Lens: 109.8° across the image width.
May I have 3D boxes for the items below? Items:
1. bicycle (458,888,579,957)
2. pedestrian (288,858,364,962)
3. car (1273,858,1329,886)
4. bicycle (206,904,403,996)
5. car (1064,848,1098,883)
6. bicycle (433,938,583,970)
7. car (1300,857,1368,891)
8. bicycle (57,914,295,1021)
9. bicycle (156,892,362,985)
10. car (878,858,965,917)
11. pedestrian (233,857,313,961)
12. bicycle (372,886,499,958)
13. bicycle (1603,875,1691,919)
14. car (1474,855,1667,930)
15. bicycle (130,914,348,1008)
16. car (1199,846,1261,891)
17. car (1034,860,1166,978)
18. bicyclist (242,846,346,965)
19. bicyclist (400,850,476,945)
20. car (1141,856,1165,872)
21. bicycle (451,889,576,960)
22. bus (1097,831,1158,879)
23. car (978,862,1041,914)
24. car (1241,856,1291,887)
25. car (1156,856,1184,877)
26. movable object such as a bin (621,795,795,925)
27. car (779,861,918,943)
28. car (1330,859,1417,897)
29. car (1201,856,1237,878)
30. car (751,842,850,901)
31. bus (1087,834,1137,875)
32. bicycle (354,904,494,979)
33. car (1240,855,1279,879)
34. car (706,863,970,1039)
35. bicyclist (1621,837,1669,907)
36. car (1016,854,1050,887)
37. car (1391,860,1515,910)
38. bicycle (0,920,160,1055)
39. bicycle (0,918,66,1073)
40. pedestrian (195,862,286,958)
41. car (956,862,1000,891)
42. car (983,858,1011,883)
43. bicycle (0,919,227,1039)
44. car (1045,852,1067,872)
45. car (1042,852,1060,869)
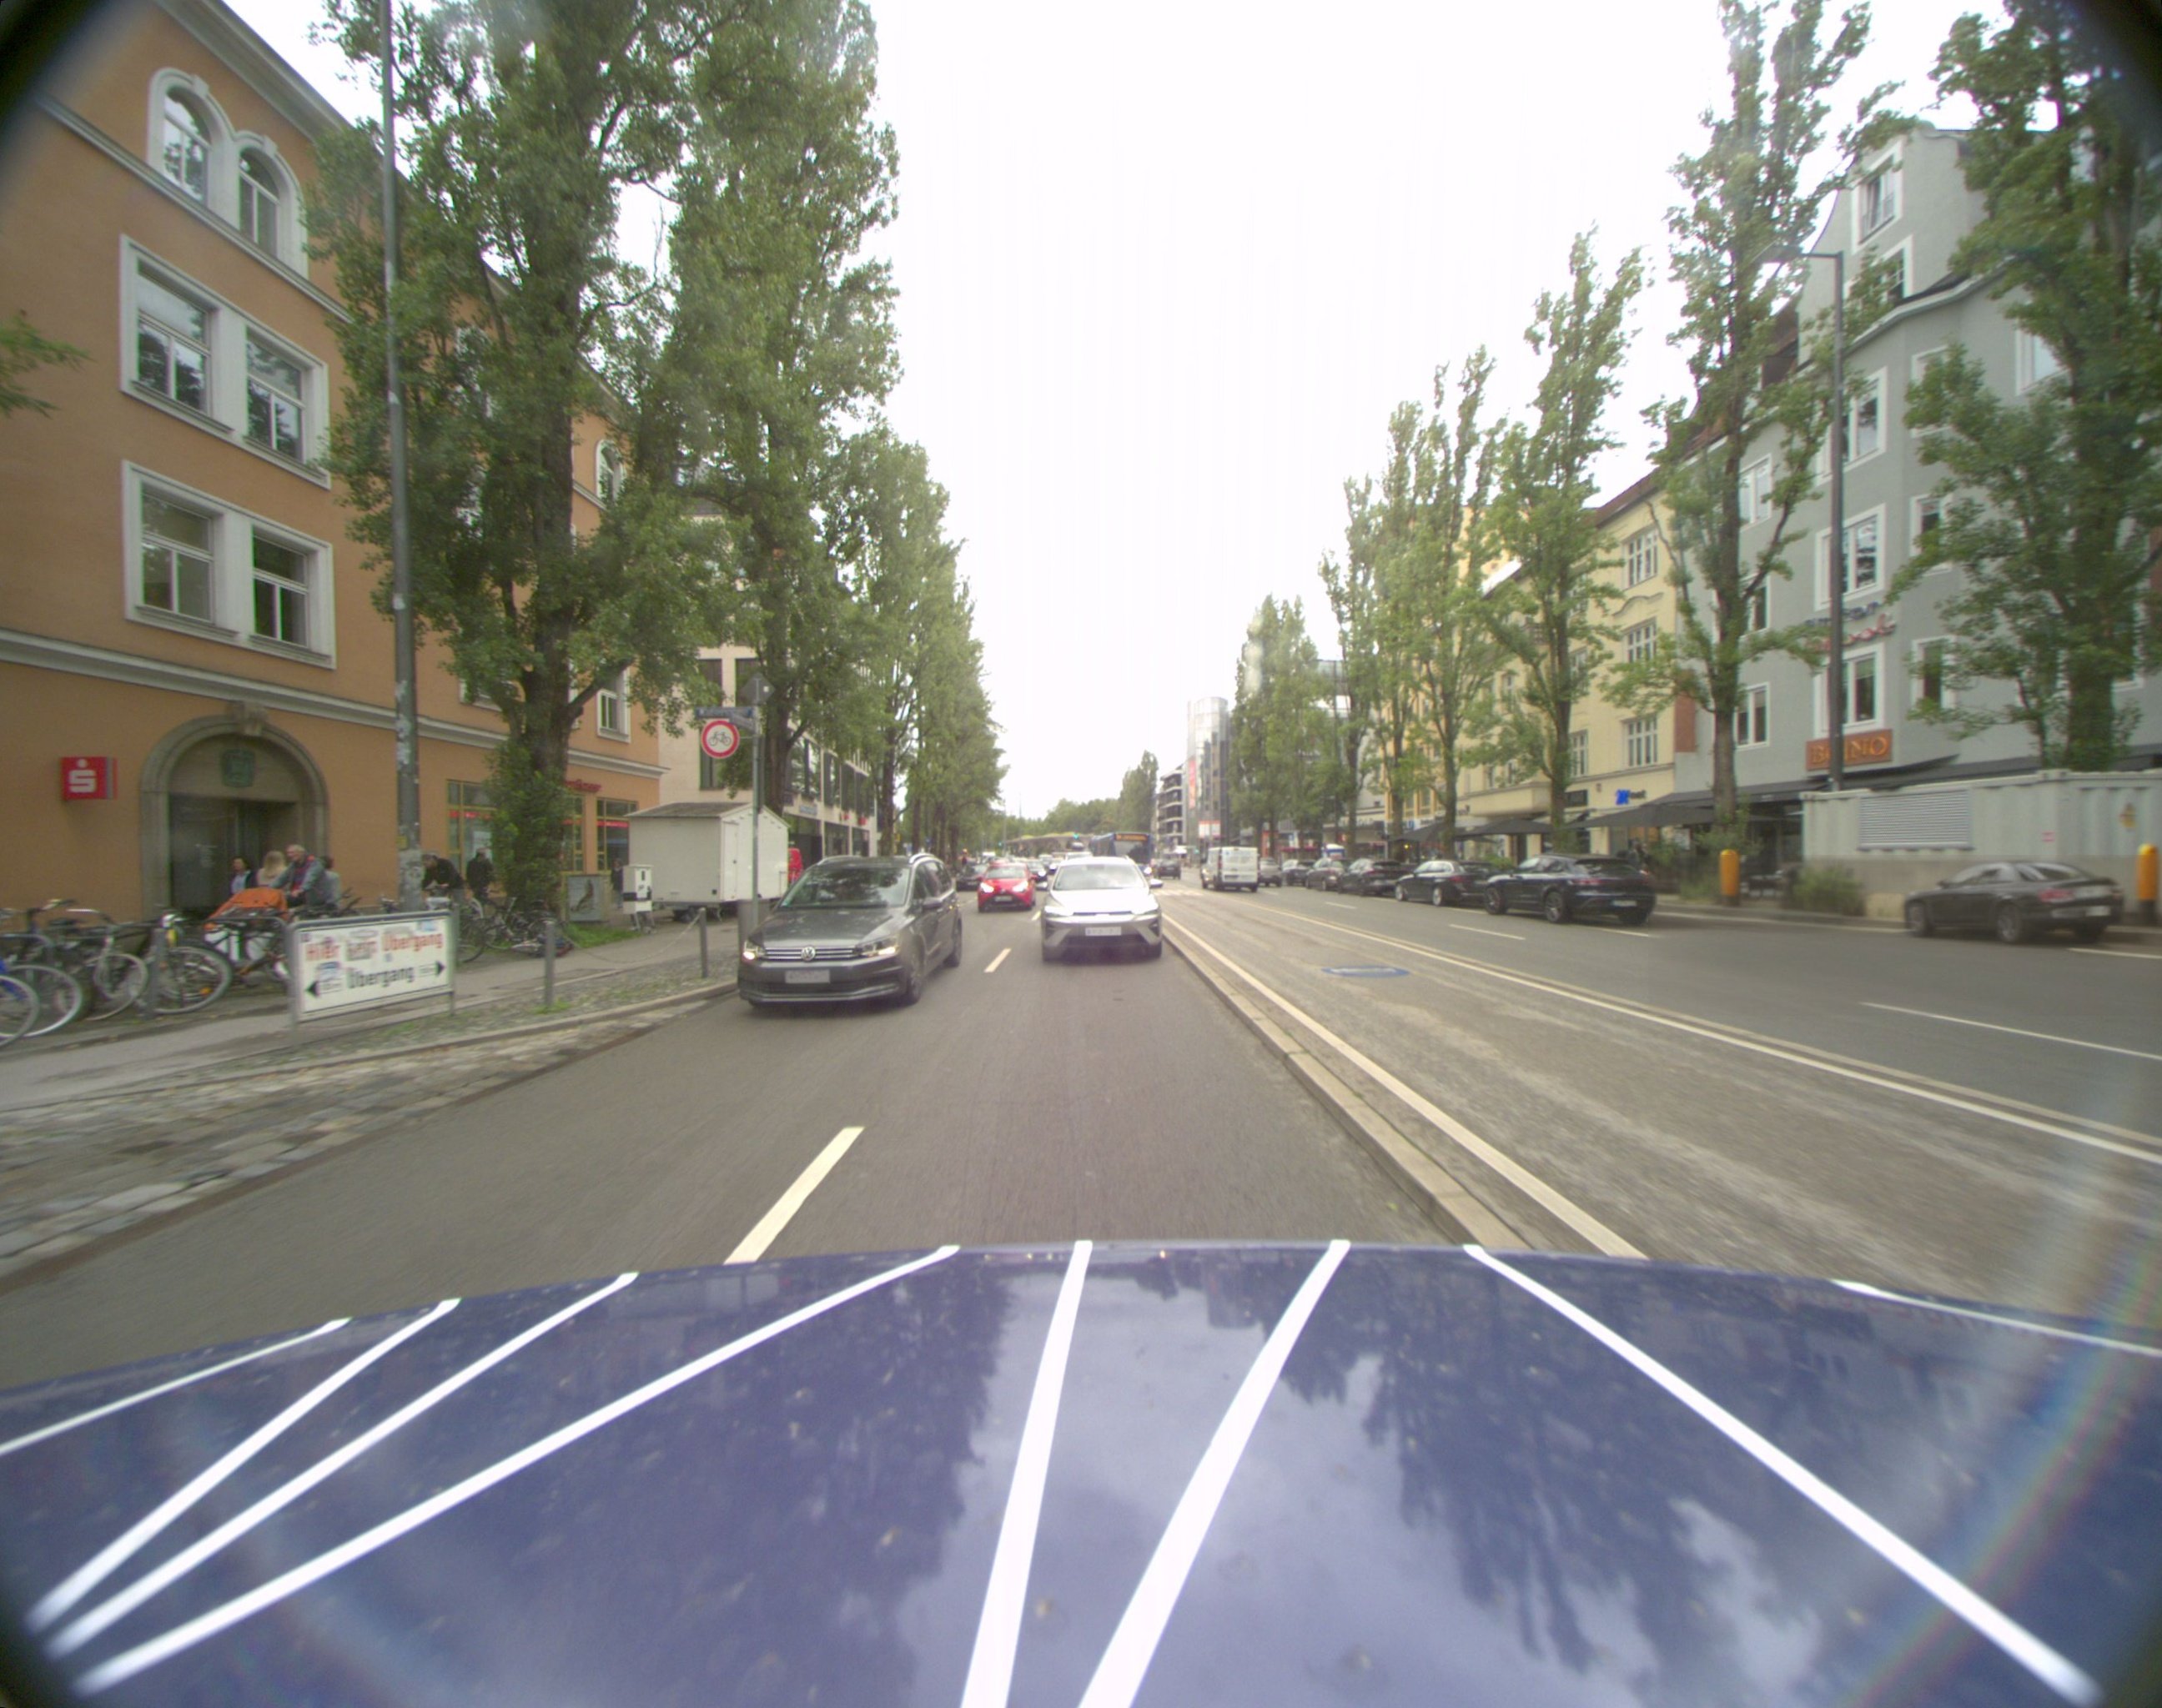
[{"bbox_3d":[-9.579,1.155,12.992,1.610,1.078,0.321,-1,1,-22],"label":"bicycle"},{"bbox_3d":[-12.814,0.928,12.912,0.619,1.684,0.574,-3,1,-8],"label":"pedestrian"},{"bbox_3d":[12.067,0.932,41.955,1.802,1.432,4.574,0,0,1],"label":"car"},{"bbox_3d":[-9.862,1.203,9.685,1.945,1.078,0.561,-1,1,1],"label":"bicycle"},{"bbox_3d":[-0.014,0.616,45.123,1.839,1.831,5.129,-2,1,0],"label":"car"},{"bbox_3d":[-8.935,1.560,11.918,1.677,0.371,0.830,0,0,-7],"label":"bicycle"},{"bbox_3d":[12.016,0.927,36.422,1.802,1.495,4.574,0,0,1],"label":"car"},{"bbox_3d":[-9.878,1.224,8.332,1.945,1.069,0.561,-1,1,1],"label":"bicycle"},{"bbox_3d":[-11.905,1.176,11.144,0.887,1.113,2.100,-1,0,-8],"label":"bicycle"},{"bbox_3d":[-4.928,0.980,24.088,1.789,1.604,4.498,-2,0,0],"label":"car"},{"bbox_3d":[-13.629,0.915,12.831,0.634,1.684,0.574,-3,1,-1],"label":"pedestrian"},{"bbox_3d":[-11.783,1.202,13.974,0.737,1.113,2.100,-1,0,-8],"label":"bicycle"},{"bbox_3d":[14.145,1.047,19.086,0.613,0.963,2.174,-1,0,1],"label":"bicycle"},{"bbox_3d":[11.678,0.831,18.577,1.802,1.603,4.574,0,0,1],"label":"car"},{"bbox_3d":[-9.868,1.242,8.936,1.945,1.004,0.561,-1,1,1],"label":"bicycle"},{"bbox_3d":[6.790,0.629,35.142,1.897,1.921,5.071,0,0,0],"label":"car"},{"bbox_3d":[0.250,0.912,12.423,1.742,1.510,4.033,-3,0,0],"label":"car"},{"bbox_3d":[-11.967,0.758,11.576,0.831,1.747,0.667,-1,1,-7],"label":"bicyclist"},{"bbox_3d":[-11.790,0.771,13.950,0.741,1.677,0.748,-1,1,-7],"label":"bicyclist"},{"bbox_3d":[6.708,0.917,71.142,1.781,1.391,4.363,0,0,0],"label":"car"},{"bbox_3d":[-9.421,1.151,12.662,1.604,1.078,0.341,-1,1,-22],"label":"bicycle"},{"bbox_3d":[2.949,0.053,51.490,2.697,2.932,10.047,-1,0,-5],"label":"bus"},{"bbox_3d":[-2.203,1.014,24.257,1.616,1.425,4.003,-2,0,0],"label":"car"},{"bbox_3d":[9.784,0.879,40.520,1.718,1.532,4.076,1,0,1],"label":"car"},{"bbox_3d":[6.451,0.889,55.446,1.616,1.432,3.596,0,0,0],"label":"car"},{"bbox_3d":[-9.897,0.139,20.666,2.445,3.119,4.543,0,0,1],"label":"movable object such as a bin"},{"bbox_3d":[-5.165,0.988,17.581,1.789,1.544,4.498,-2,0,0],"label":"car"},{"bbox_3d":[11.789,0.921,30.969,1.802,1.432,4.574,0,0,1],"label":"car"},{"bbox_3d":[9.834,0.881,54.543,1.750,1.509,4.363,0,0,0],"label":"car"},{"bbox_3d":[-10.748,0.623,29.424,1.682,2.110,4.004,-1,0,12],"label":"car"},{"bbox_3d":[2.281,0.016,59.844,2.691,2.932,10.047,-1,0,-5],"label":"bus"},{"bbox_3d":[-9.542,1.267,11.066,1.602,1.004,0.342,-1,1,-7],"label":"bicycle"},{"bbox_3d":[12.274,0.869,52.542,1.802,1.568,4.104,0,0,1],"label":"car"},{"bbox_3d":[-2.637,0.956,9.406,1.882,1.582,4.192,-2,0,0],"label":"car"},{"bbox_3d":[14.133,0.442,19.068,0.606,1.695,0.816,-1,1,1],"label":"bicyclist"},{"bbox_3d":[-2.697,0.860,42.054,1.707,1.683,4.001,-2,0,-5],"label":"car"},{"bbox_3d":[11.798,0.930,24.493,1.802,1.432,4.574,0,0,1],"label":"car"},{"bbox_3d":[-9.718,1.203,6.938,1.945,1.130,0.561,-1,1,1],"label":"bicycle"},{"bbox_3d":[-9.755,1.180,6.295,1.945,1.232,0.561,-1,1,1],"label":"bicycle"},{"bbox_3d":[-14.496,0.950,13.121,0.745,1.562,0.664,-2,1,3],"label":"pedestrian"},{"bbox_3d":[-5.347,1.125,39.915,1.700,1.352,4.003,-2,0,0],"label":"car"},{"bbox_3d":[-5.517,1.072,50.415,1.701,1.507,3.998,-3,1,-5],"label":"car"},{"bbox_3d":[-9.815,1.229,7.589,1.945,1.082,0.561,-1,1,1],"label":"bicycle"},{"bbox_3d":[-2.273,0.736,68.168,1.707,1.683,4.001,-2,0,-5],"label":"car"},{"bbox_3d":[-3.198,0.692,81.162,1.707,1.683,4.001,-2,0,-5],"label":"car"}]
